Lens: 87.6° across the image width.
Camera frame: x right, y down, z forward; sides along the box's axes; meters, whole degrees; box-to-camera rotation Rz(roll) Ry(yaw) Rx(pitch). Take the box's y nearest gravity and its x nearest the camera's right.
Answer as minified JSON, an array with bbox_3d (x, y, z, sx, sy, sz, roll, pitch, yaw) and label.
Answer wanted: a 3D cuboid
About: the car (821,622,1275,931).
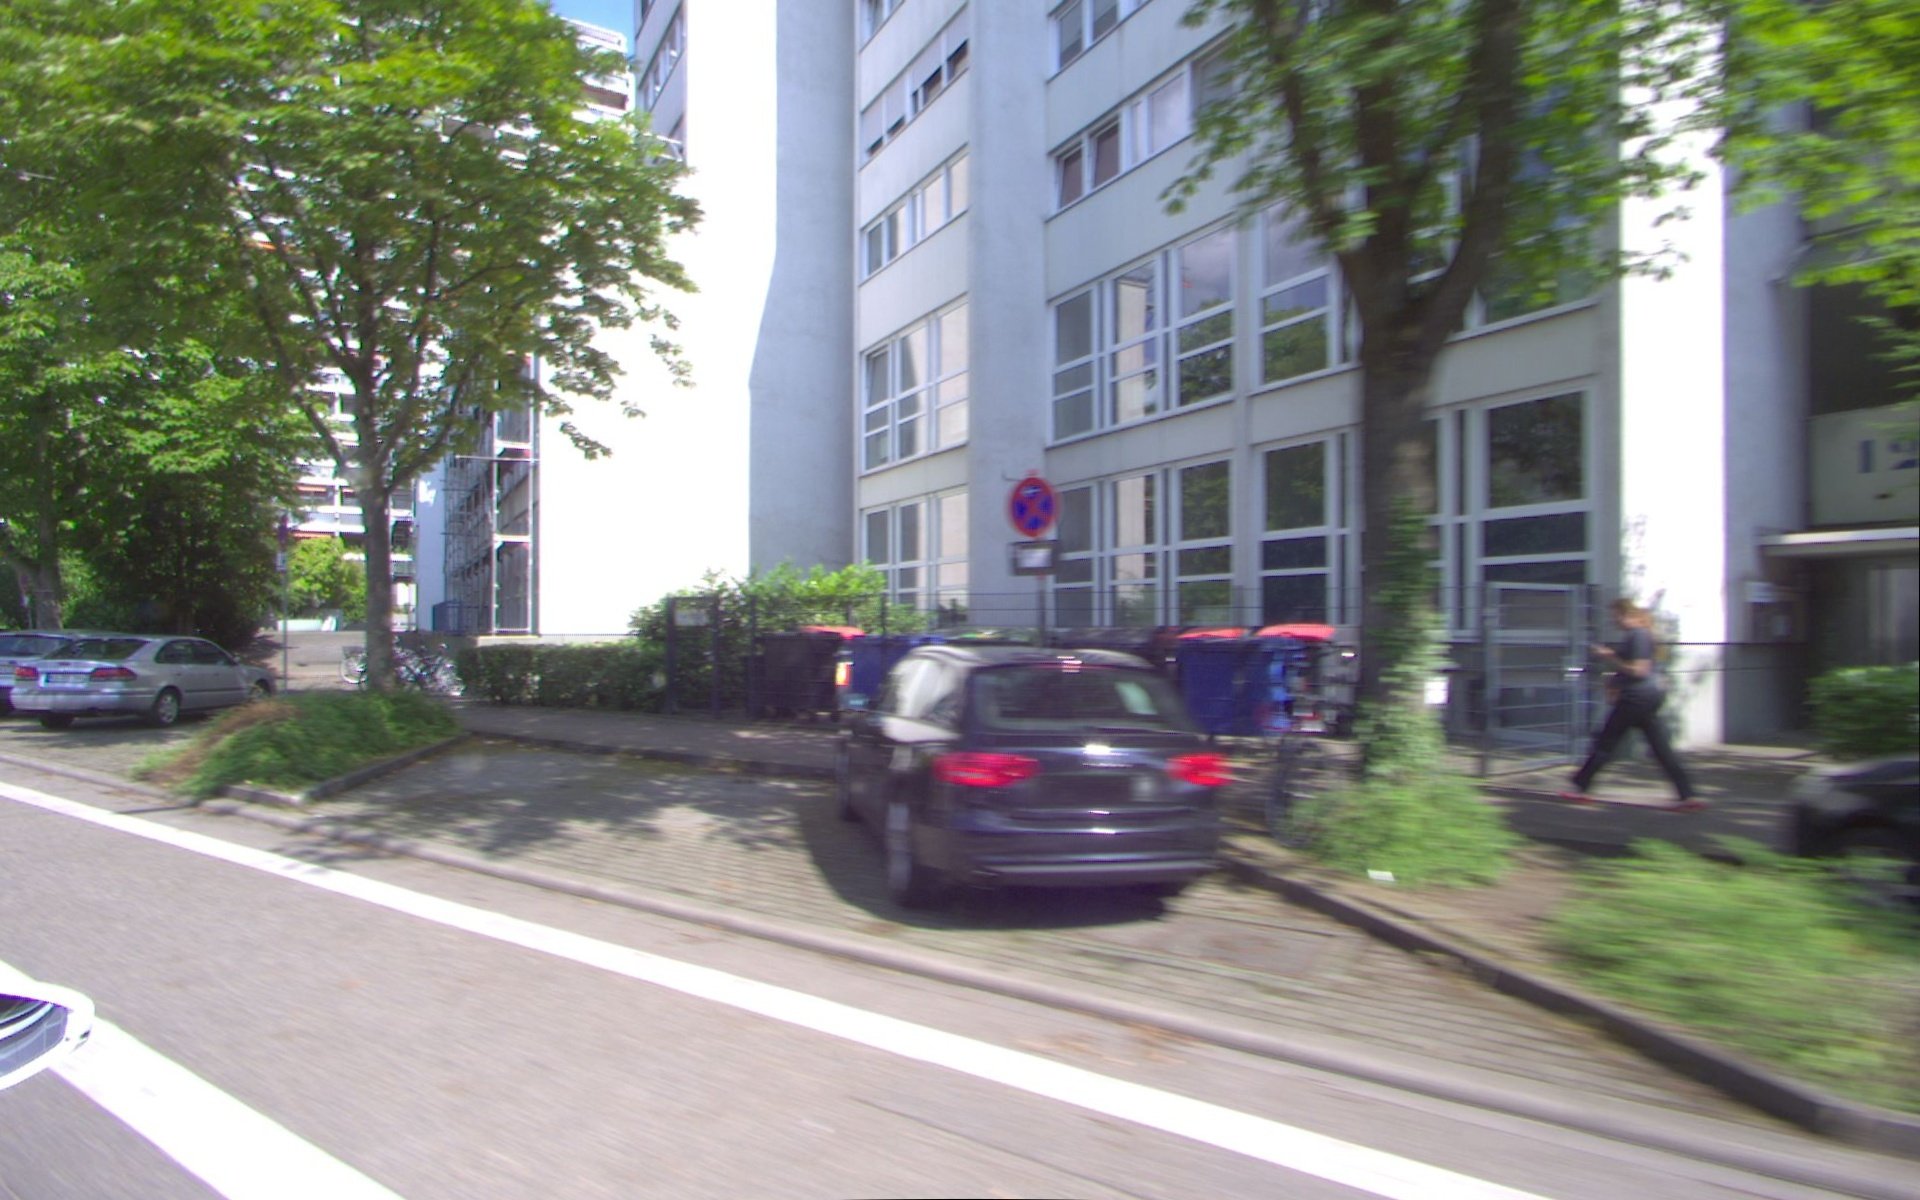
[{"bbox_3d":[0.182,0.978,7.201,1.994,1.460,4.535,1,-3,-12],"label":"car"}]

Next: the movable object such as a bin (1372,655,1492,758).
[{"bbox_3d":[5.803,1.275,12.328,1.020,1.105,0.924,-2,1,-32],"label":"movable object such as a bin"}]

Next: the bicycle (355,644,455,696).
[{"bbox_3d":[-12.086,1.513,21.871,1.872,1.067,0.449,0,1,-27],"label":"bicycle"}]

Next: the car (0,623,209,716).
[{"bbox_3d":[-15.759,1.200,18.262,1.621,1.493,3.805,2,-2,-8],"label":"car"}]

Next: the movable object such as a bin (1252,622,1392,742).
[{"bbox_3d":[4.908,1.059,13.595,1.362,1.466,1.254,-1,1,-36],"label":"movable object such as a bin"}]

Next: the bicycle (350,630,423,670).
[{"bbox_3d":[-16.421,1.426,28.709,1.804,1.110,0.449,0,0,-27],"label":"bicycle"}]

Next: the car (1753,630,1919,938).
[{"bbox_3d":[5.677,0.901,3.769,1.694,1.462,4.072,2,-1,-11],"label":"car"}]

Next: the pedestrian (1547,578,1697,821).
[{"bbox_3d":[5.572,0.790,8.428,0.990,1.898,0.758,0,-1,39],"label":"pedestrian"}]

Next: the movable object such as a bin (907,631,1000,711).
[{"bbox_3d":[-0.122,1.290,18.577,1.201,1.356,1.252,-1,1,-42],"label":"movable object such as a bin"}]

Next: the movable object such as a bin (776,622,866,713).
[{"bbox_3d":[-2.410,1.145,17.283,1.250,1.499,0.932,2,-1,-30],"label":"movable object such as a bin"}]

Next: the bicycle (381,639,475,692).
[{"bbox_3d":[-12.154,1.483,22.926,1.872,1.110,0.449,0,1,-27],"label":"bicycle"}]

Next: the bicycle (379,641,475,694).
[{"bbox_3d":[-11.938,1.494,22.476,1.872,1.110,0.449,0,1,-27],"label":"bicycle"}]

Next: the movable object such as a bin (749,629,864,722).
[{"bbox_3d":[-2.344,1.144,15.389,1.218,1.352,1.274,-1,-3,31],"label":"movable object such as a bin"}]

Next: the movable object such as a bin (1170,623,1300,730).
[{"bbox_3d":[4.043,1.101,14.803,1.194,1.474,1.444,2,-2,-34],"label":"movable object such as a bin"}]

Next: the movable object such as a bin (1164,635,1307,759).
[{"bbox_3d":[3.238,1.085,11.746,1.307,1.335,1.273,-1,-2,33],"label":"movable object such as a bin"}]

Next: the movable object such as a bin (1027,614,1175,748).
[{"bbox_3d":[1.783,0.976,12.545,1.449,1.558,1.273,-1,-2,33],"label":"movable object such as a bin"}]

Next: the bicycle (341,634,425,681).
[{"bbox_3d":[-14.737,1.449,25.629,1.804,1.111,0.449,0,3,-27],"label":"bicycle"}]

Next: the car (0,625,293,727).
[{"bbox_3d":[-13.191,1.159,16.584,1.690,1.438,4.244,1,-2,-5],"label":"car"}]

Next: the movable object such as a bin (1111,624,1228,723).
[{"bbox_3d":[3.368,1.142,16.132,1.362,1.466,1.254,-1,1,-36],"label":"movable object such as a bin"}]

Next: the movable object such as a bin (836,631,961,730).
[{"bbox_3d":[-0.880,1.149,14.637,1.339,1.352,1.274,-1,-3,31],"label":"movable object such as a bin"}]

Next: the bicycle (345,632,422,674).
[{"bbox_3d":[-15.895,1.449,27.643,1.805,1.110,0.449,1,0,-27],"label":"bicycle"}]

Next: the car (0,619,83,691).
[{"bbox_3d":[-21.336,1.197,21.827,1.586,1.505,3.996,0,0,-12],"label":"car"}]

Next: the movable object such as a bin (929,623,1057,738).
[{"bbox_3d":[0.479,1.086,13.813,1.330,1.455,1.276,1,-3,26],"label":"movable object such as a bin"}]

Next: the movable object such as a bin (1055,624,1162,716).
[{"bbox_3d":[2.595,1.181,17.489,1.362,1.466,1.254,-1,1,-36],"label":"movable object such as a bin"}]
